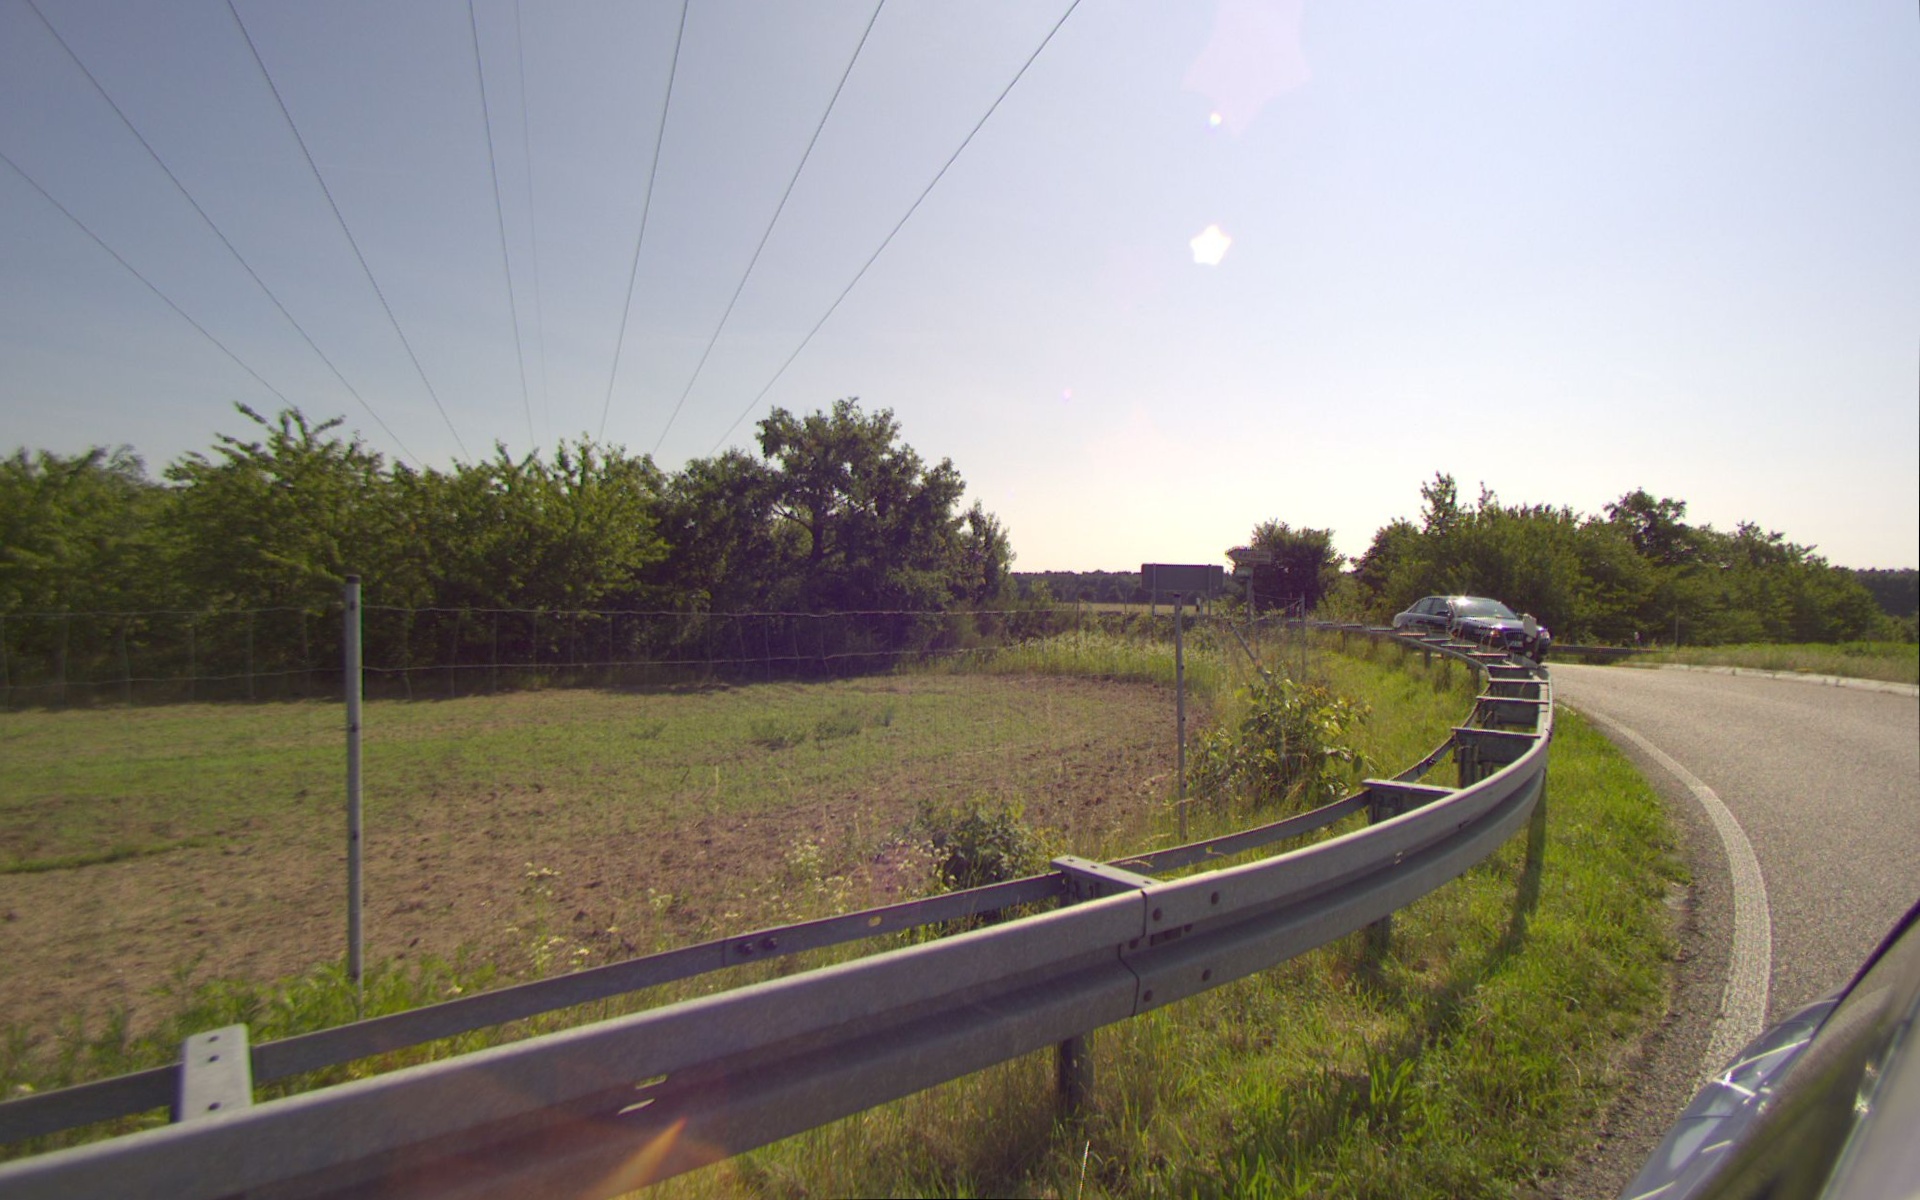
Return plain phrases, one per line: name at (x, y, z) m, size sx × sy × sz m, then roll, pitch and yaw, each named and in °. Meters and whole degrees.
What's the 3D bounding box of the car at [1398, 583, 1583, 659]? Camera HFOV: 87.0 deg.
car at (11.332, 0.458, 21.978) m, size 1.852 × 1.475 × 4.074 m, roll 1°, pitch -1°, yaw 0°
